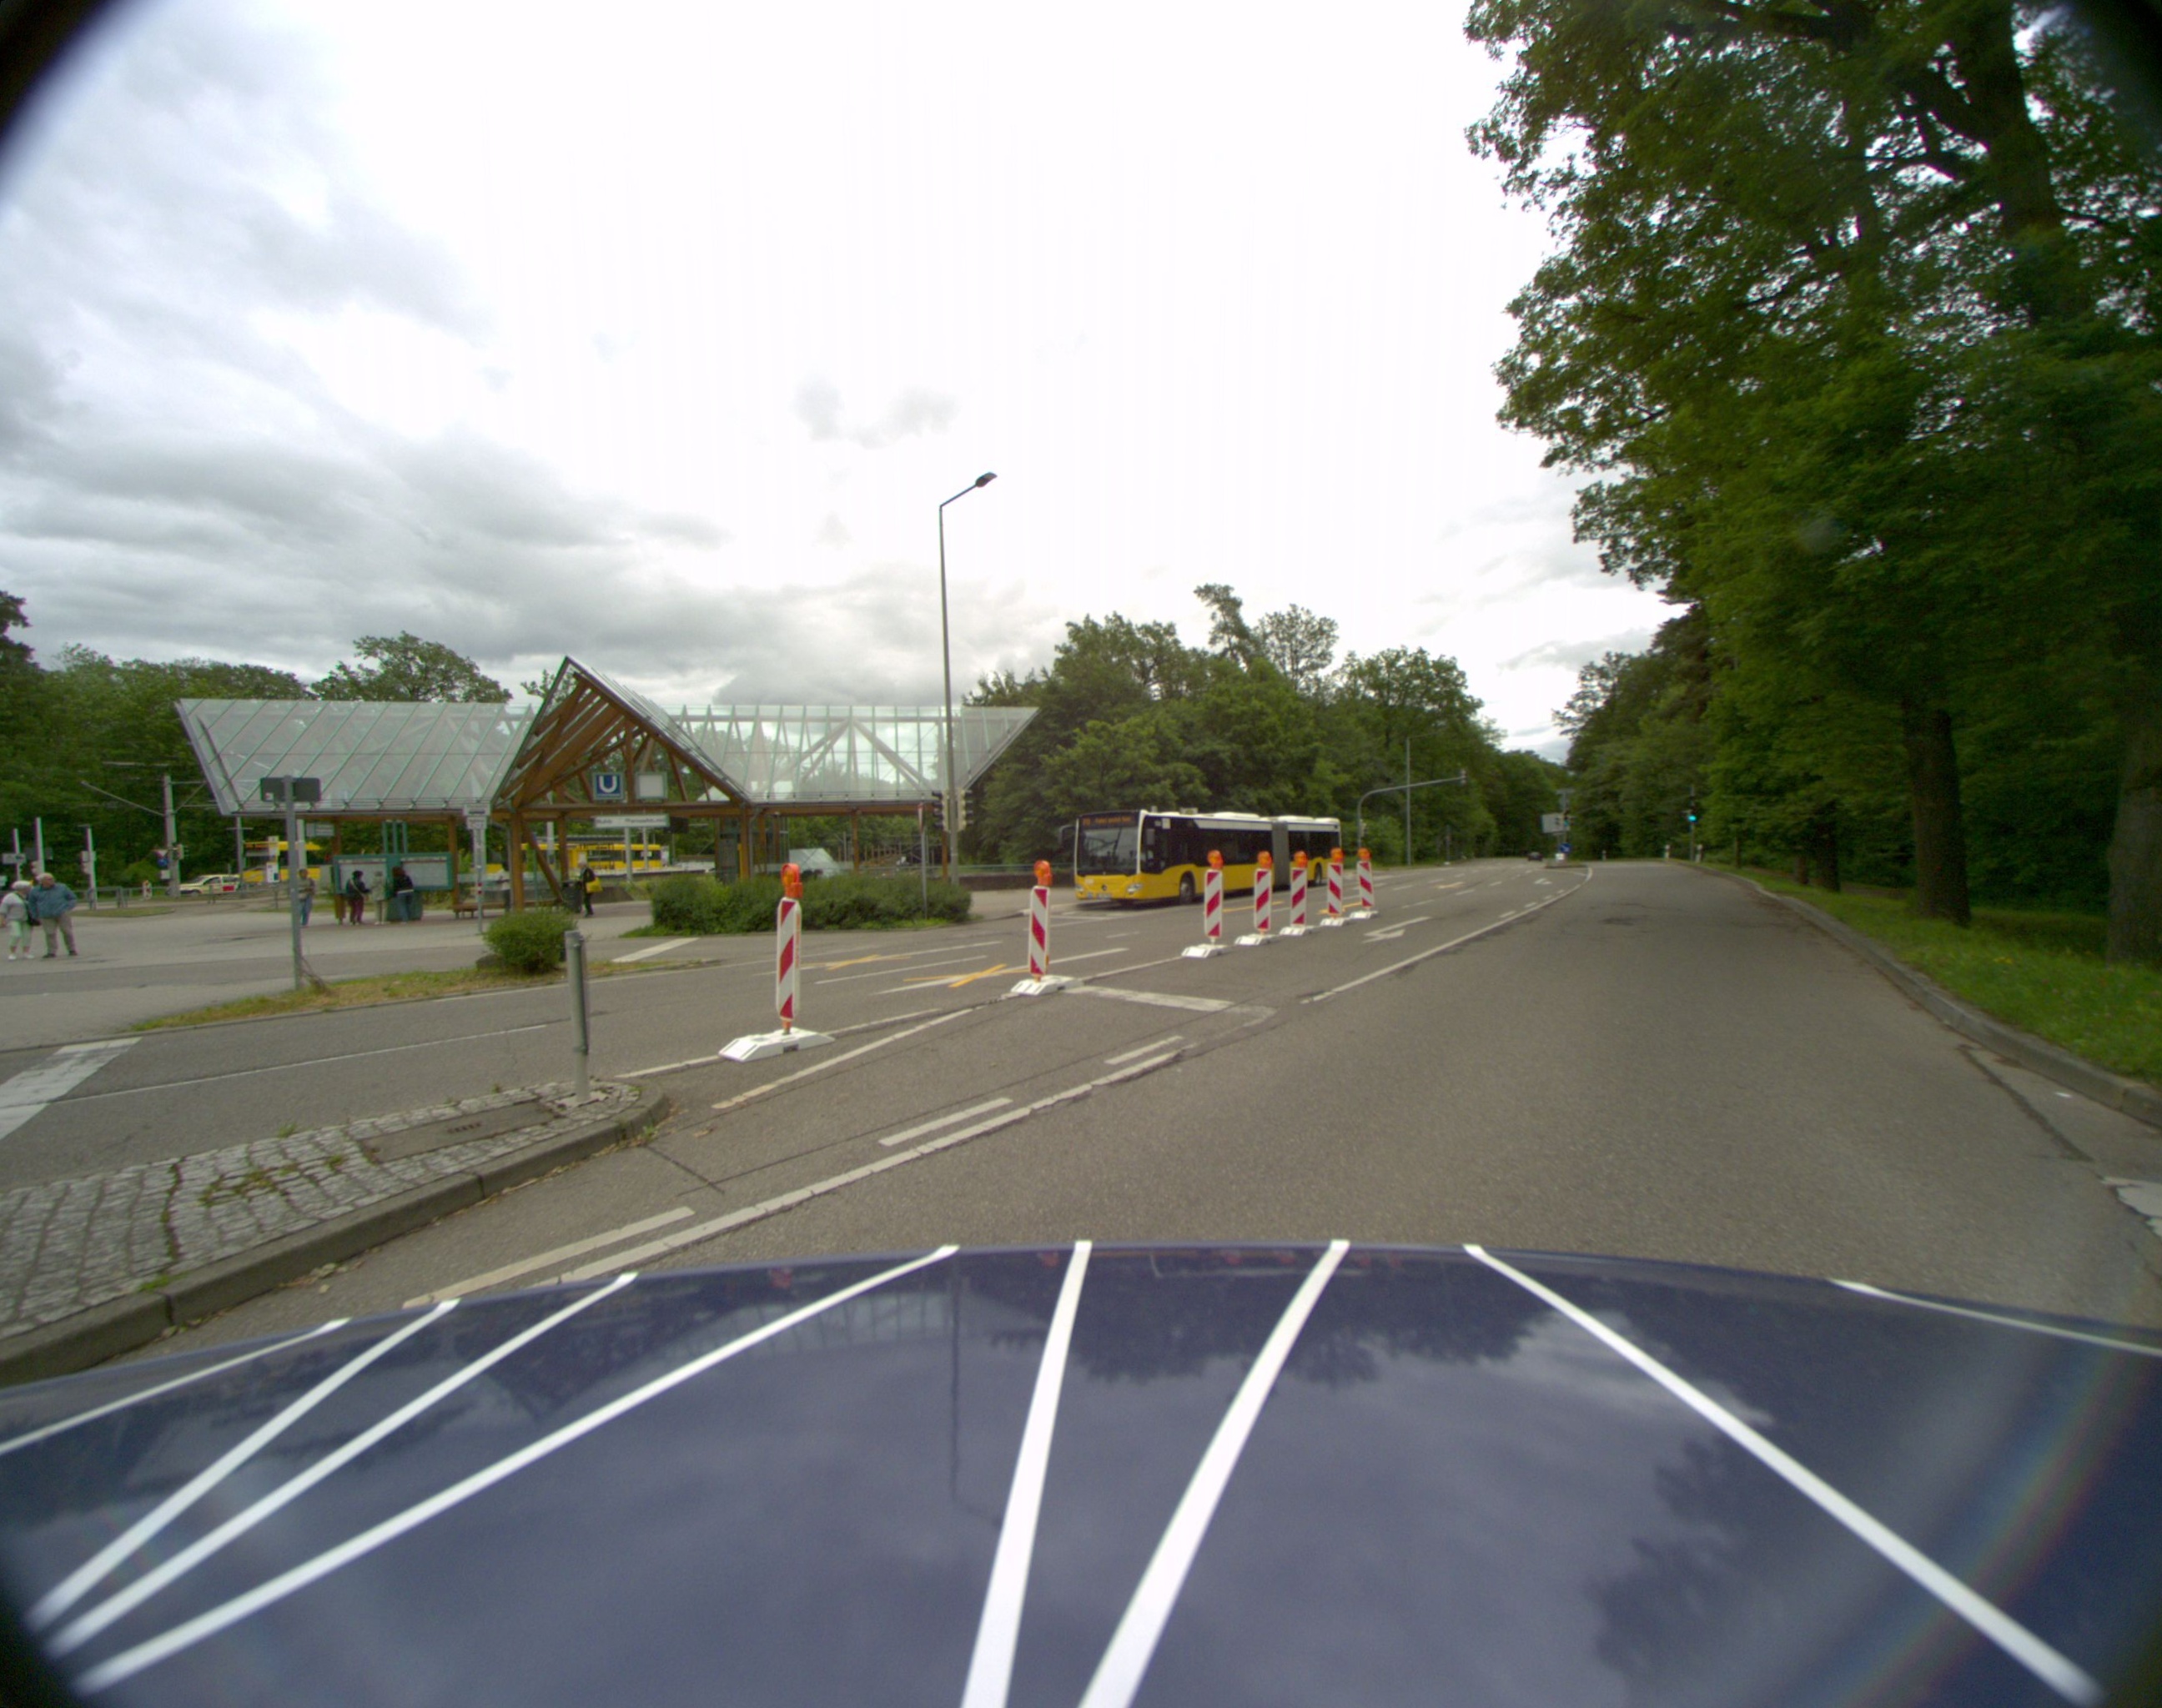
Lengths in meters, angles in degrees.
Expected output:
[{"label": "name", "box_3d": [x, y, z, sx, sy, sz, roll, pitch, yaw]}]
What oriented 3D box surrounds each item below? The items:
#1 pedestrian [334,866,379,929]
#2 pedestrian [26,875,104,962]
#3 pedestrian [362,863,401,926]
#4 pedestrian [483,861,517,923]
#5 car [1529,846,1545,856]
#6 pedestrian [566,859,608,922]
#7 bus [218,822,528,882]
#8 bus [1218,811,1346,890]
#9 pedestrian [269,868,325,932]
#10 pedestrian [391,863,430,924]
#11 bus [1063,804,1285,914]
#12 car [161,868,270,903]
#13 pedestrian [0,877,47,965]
[{"label": "pedestrian", "box_3d": [-20.990, 1.256, 22.008, 0.561, 1.747, 0.669, -3, 1, 18]}, {"label": "pedestrian", "box_3d": [-21.450, 1.331, 16.058, 0.738, 1.747, 0.667, -4, 1, -36]}, {"label": "pedestrian", "box_3d": [-20.170, 1.164, 21.911, 0.666, 1.747, 0.601, -2, 1, 32]}, {"label": "pedestrian", "box_3d": [-16.765, 1.083, 21.941, 0.657, 1.747, 0.667, -4, 1, -34]}, {"label": "car", "box_3d": [65.717, -0.423, 109.493, 1.748, 1.322, 4.007, -3, 1, 33]}, {"label": "pedestrian", "box_3d": [-14.213, 1.039, 21.862, 0.668, 1.747, 0.656, -3, 1, 1]}, {"label": "bus", "box_3d": [-50.163, -0.225, 55.814, 3.974, 3.463, 18.582, -3, 0, 5]}, {"label": "bus", "box_3d": [9.239, -0.192, 34.132, 2.804, 3.140, 7.772, -2, 0, 36]}, {"label": "pedestrian", "box_3d": [-22.283, 1.286, 21.603, 0.733, 1.747, 0.736, -3, 1, -9]}, {"label": "pedestrian", "box_3d": [-19.751, 1.159, 22.371, 0.666, 1.747, 0.601, -2, 1, 32]}, {"label": "bus", "box_3d": [3.762, 0.051, 26.766, 2.804, 3.140, 10.538, -2, 0, 37]}, {"label": "car", "box_3d": [-58.082, 2.061, 51.130, 1.997, 2.002, 4.330, -3, 1, 9]}, {"label": "pedestrian", "box_3d": [-21.984, 1.374, 15.542, 0.738, 1.747, 0.667, -4, 1, -34]}]
